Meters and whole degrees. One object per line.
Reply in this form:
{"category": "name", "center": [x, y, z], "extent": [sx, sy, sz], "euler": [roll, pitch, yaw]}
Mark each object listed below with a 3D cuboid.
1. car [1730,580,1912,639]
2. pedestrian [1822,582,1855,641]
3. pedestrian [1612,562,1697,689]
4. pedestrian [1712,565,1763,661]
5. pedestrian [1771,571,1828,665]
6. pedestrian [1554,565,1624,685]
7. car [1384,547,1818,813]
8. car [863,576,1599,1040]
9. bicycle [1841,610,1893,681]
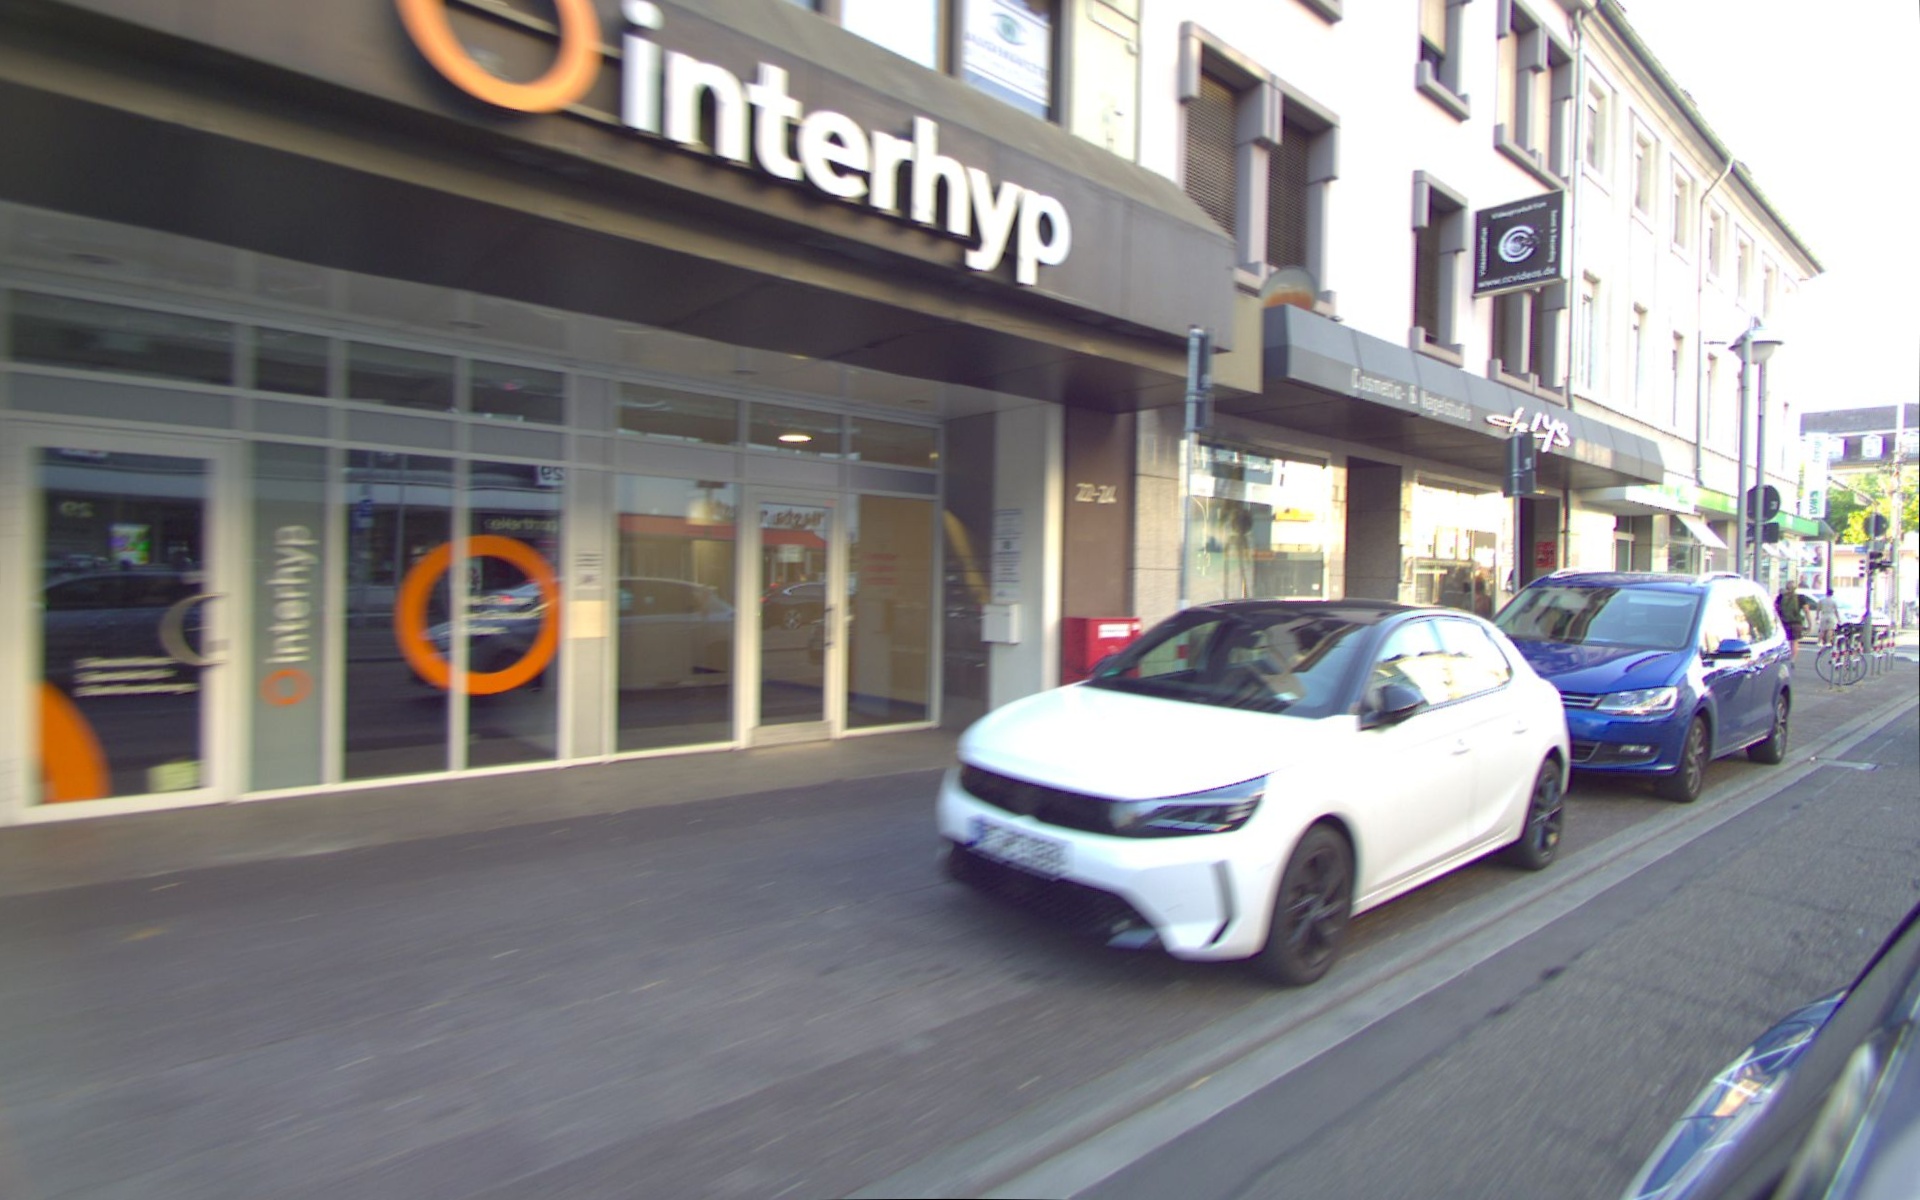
{"category": "car", "center": [28.852, 0.262, 34.073], "extent": [1.791, 1.820, 4.291], "euler": [0, 1, -29]}
{"category": "pedestrian", "center": [26.971, 0.343, 31.059], "extent": [0.643, 1.764, 0.692], "euler": [0, 1, -45]}
{"category": "pedestrian", "center": [10.444, 0.360, 15.228], "extent": [0.911, 1.828, 0.768], "euler": [0, 2, -40]}
{"category": "pedestrian", "center": [16.263, 0.253, 21.167], "extent": [0.864, 1.951, 0.662], "euler": [0, 2, -43]}
{"category": "pedestrian", "center": [17.051, 0.345, 20.559], "extent": [0.836, 1.851, 0.738], "euler": [0, 2, -43]}
{"category": "pedestrian", "center": [9.536, 0.362, 15.351], "extent": [0.666, 1.739, 0.651], "euler": [0, 3, -40]}
{"category": "car", "center": [5.821, 0.483, 8.950], "extent": [4.496, 1.748, 1.998], "euler": [0, 3, -41]}
{"category": "car", "center": [1.594, 0.663, 5.193], "extent": [3.819, 1.450, 1.799], "euler": [0, 2, -41]}
{"category": "bicycle", "center": [15.944, 0.777, 17.784], "extent": [1.465, 1.161, 0.534], "euler": [0, 2, -43]}
